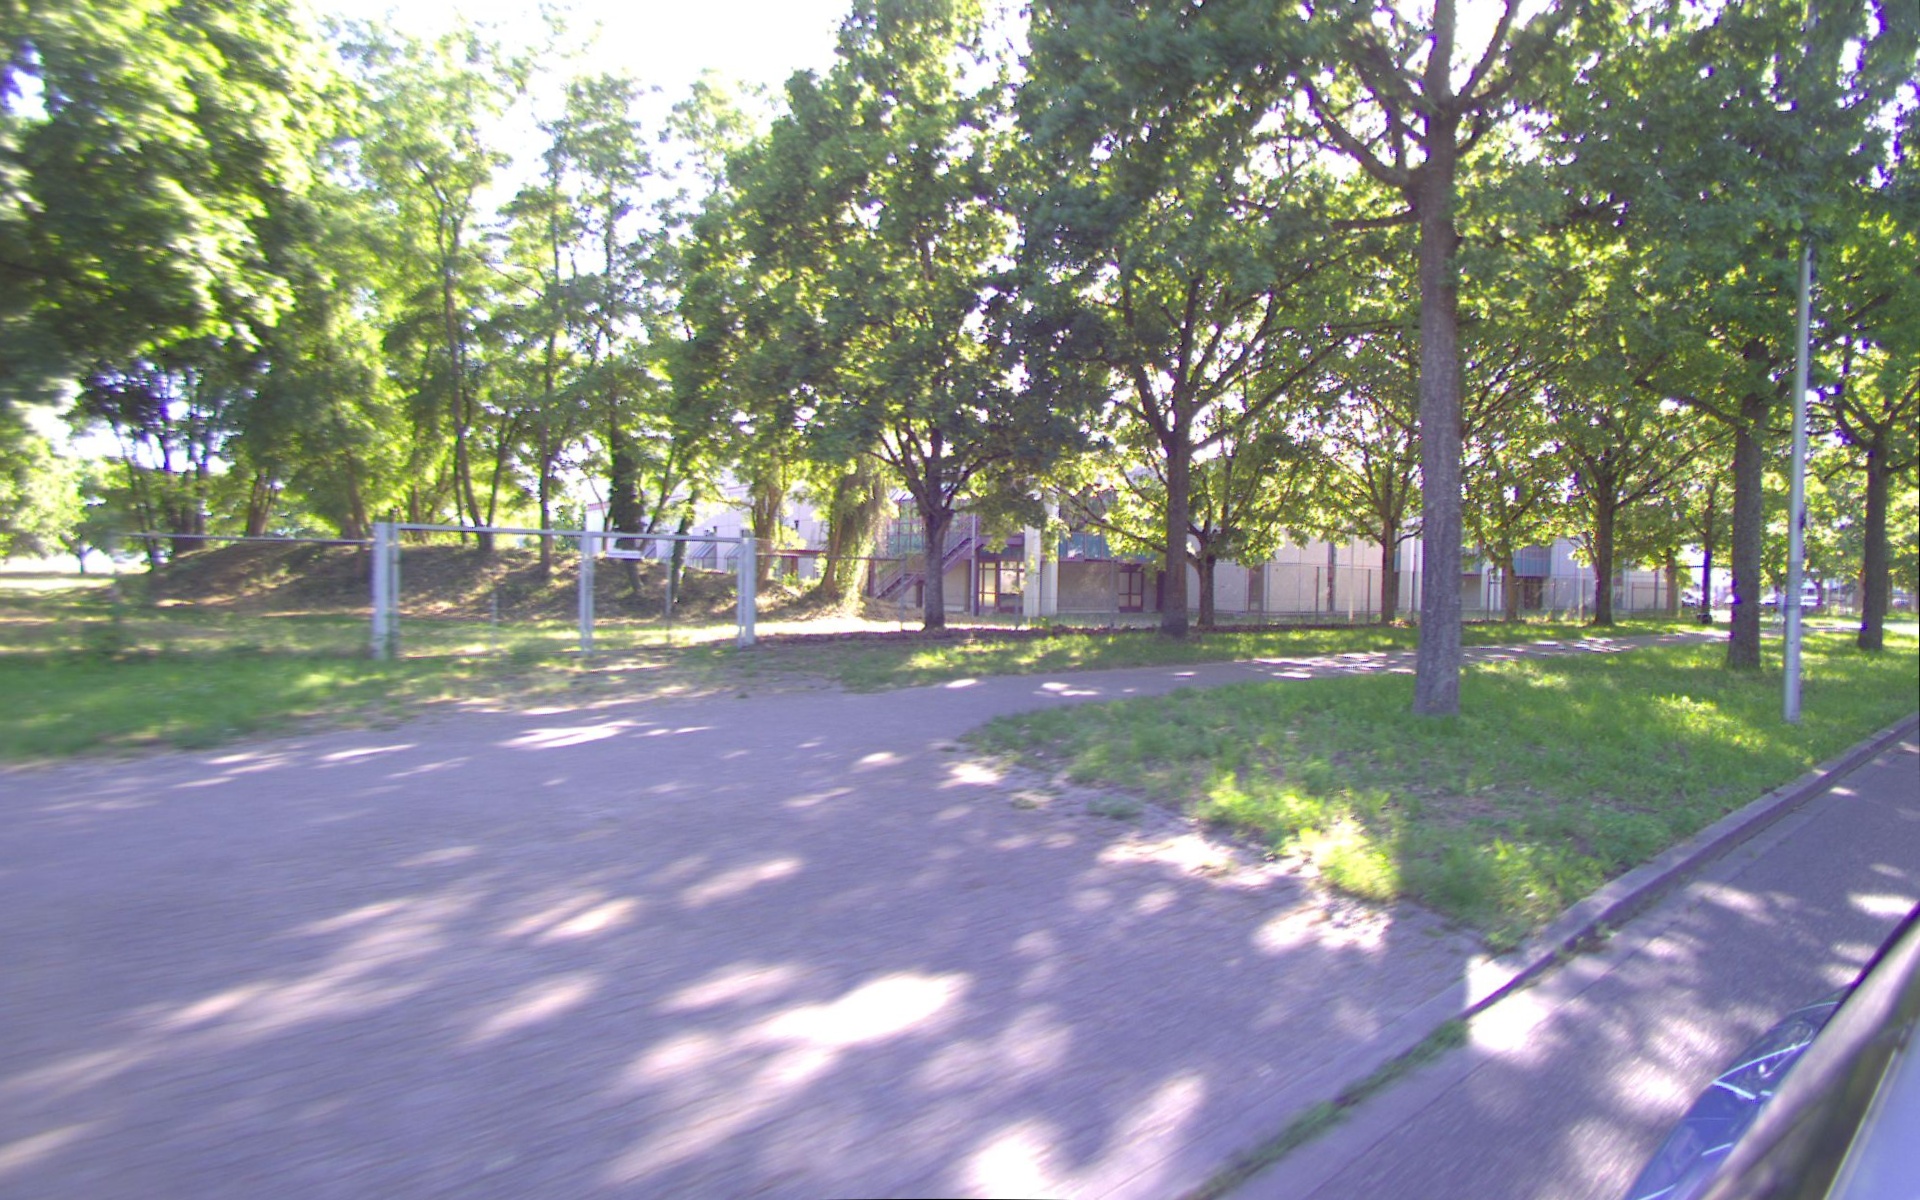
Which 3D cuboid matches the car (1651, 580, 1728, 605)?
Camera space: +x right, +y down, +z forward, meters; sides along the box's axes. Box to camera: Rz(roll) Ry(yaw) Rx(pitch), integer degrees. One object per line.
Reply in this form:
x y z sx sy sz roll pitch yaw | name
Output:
63.109 -0.673 87.673 1.862 1.983 5.074 0 3 -40 | car

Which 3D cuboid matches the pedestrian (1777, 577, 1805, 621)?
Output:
31.639 -0.045 38.529 0.706 1.650 0.610 1 3 -37 | pedestrian
